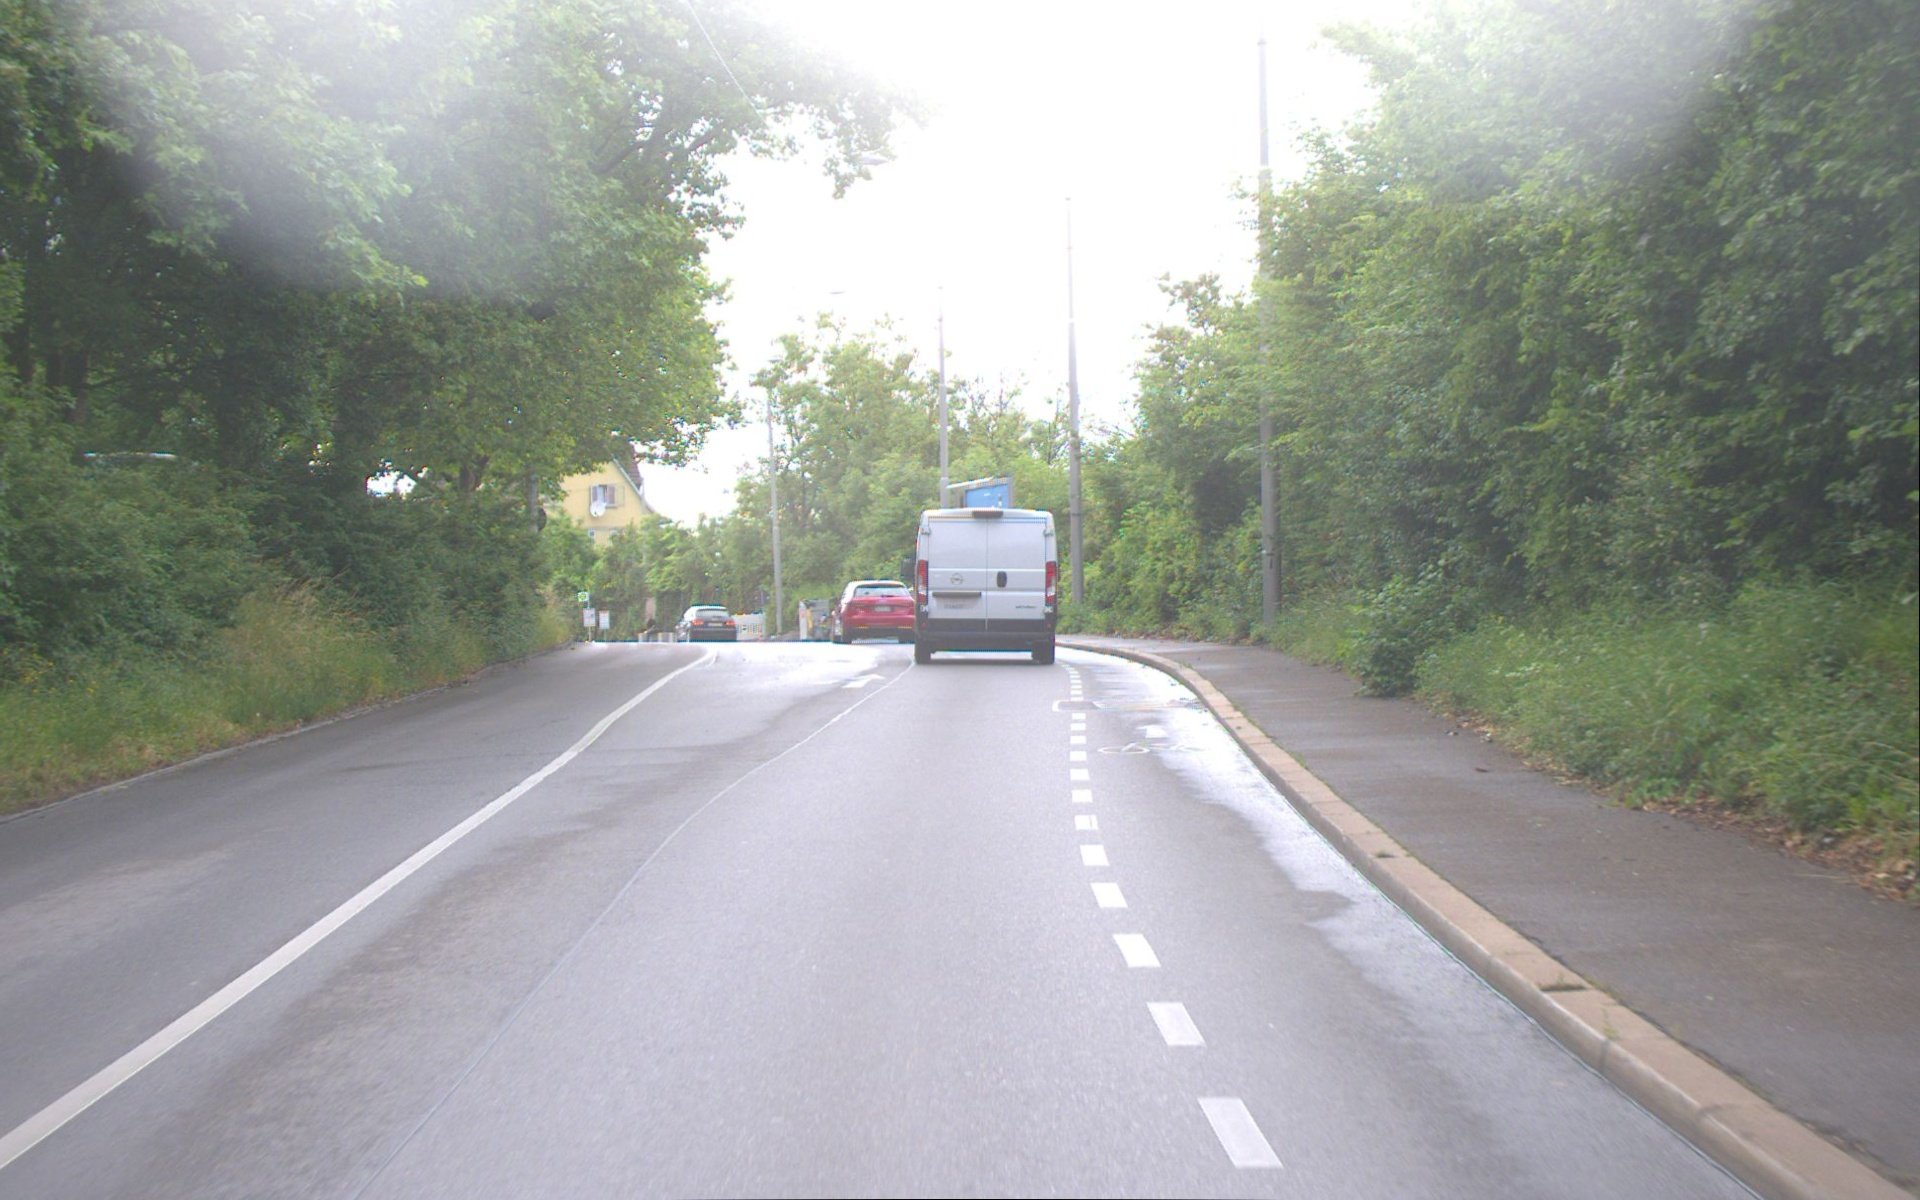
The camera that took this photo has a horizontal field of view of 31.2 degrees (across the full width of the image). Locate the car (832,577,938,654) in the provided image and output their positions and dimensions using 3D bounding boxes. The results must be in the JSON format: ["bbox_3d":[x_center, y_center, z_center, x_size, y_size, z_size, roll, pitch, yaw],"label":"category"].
[{"bbox_3d":[-1.739,0.318,78.140,2.237,1.651,4.714,1,1,-3],"label":"car"}]

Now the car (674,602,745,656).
[{"bbox_3d":[-8.831,1.004,121.306,2.237,1.798,4.714,1,1,-1],"label":"car"}]

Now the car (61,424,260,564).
[{"bbox_3d":[-12.032,-1.562,52.012,1.993,2.007,4.628,1,1,-1],"label":"car"}]

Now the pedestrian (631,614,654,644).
[{"bbox_3d":[-14.717,1.348,159.345,0.878,1.363,1.066,0,1,-12],"label":"pedestrian"}]

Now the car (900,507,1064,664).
[{"bbox_3d":[0.273,-0.232,51.008,2.237,2.205,4.714,1,1,-2],"label":"car"}]
